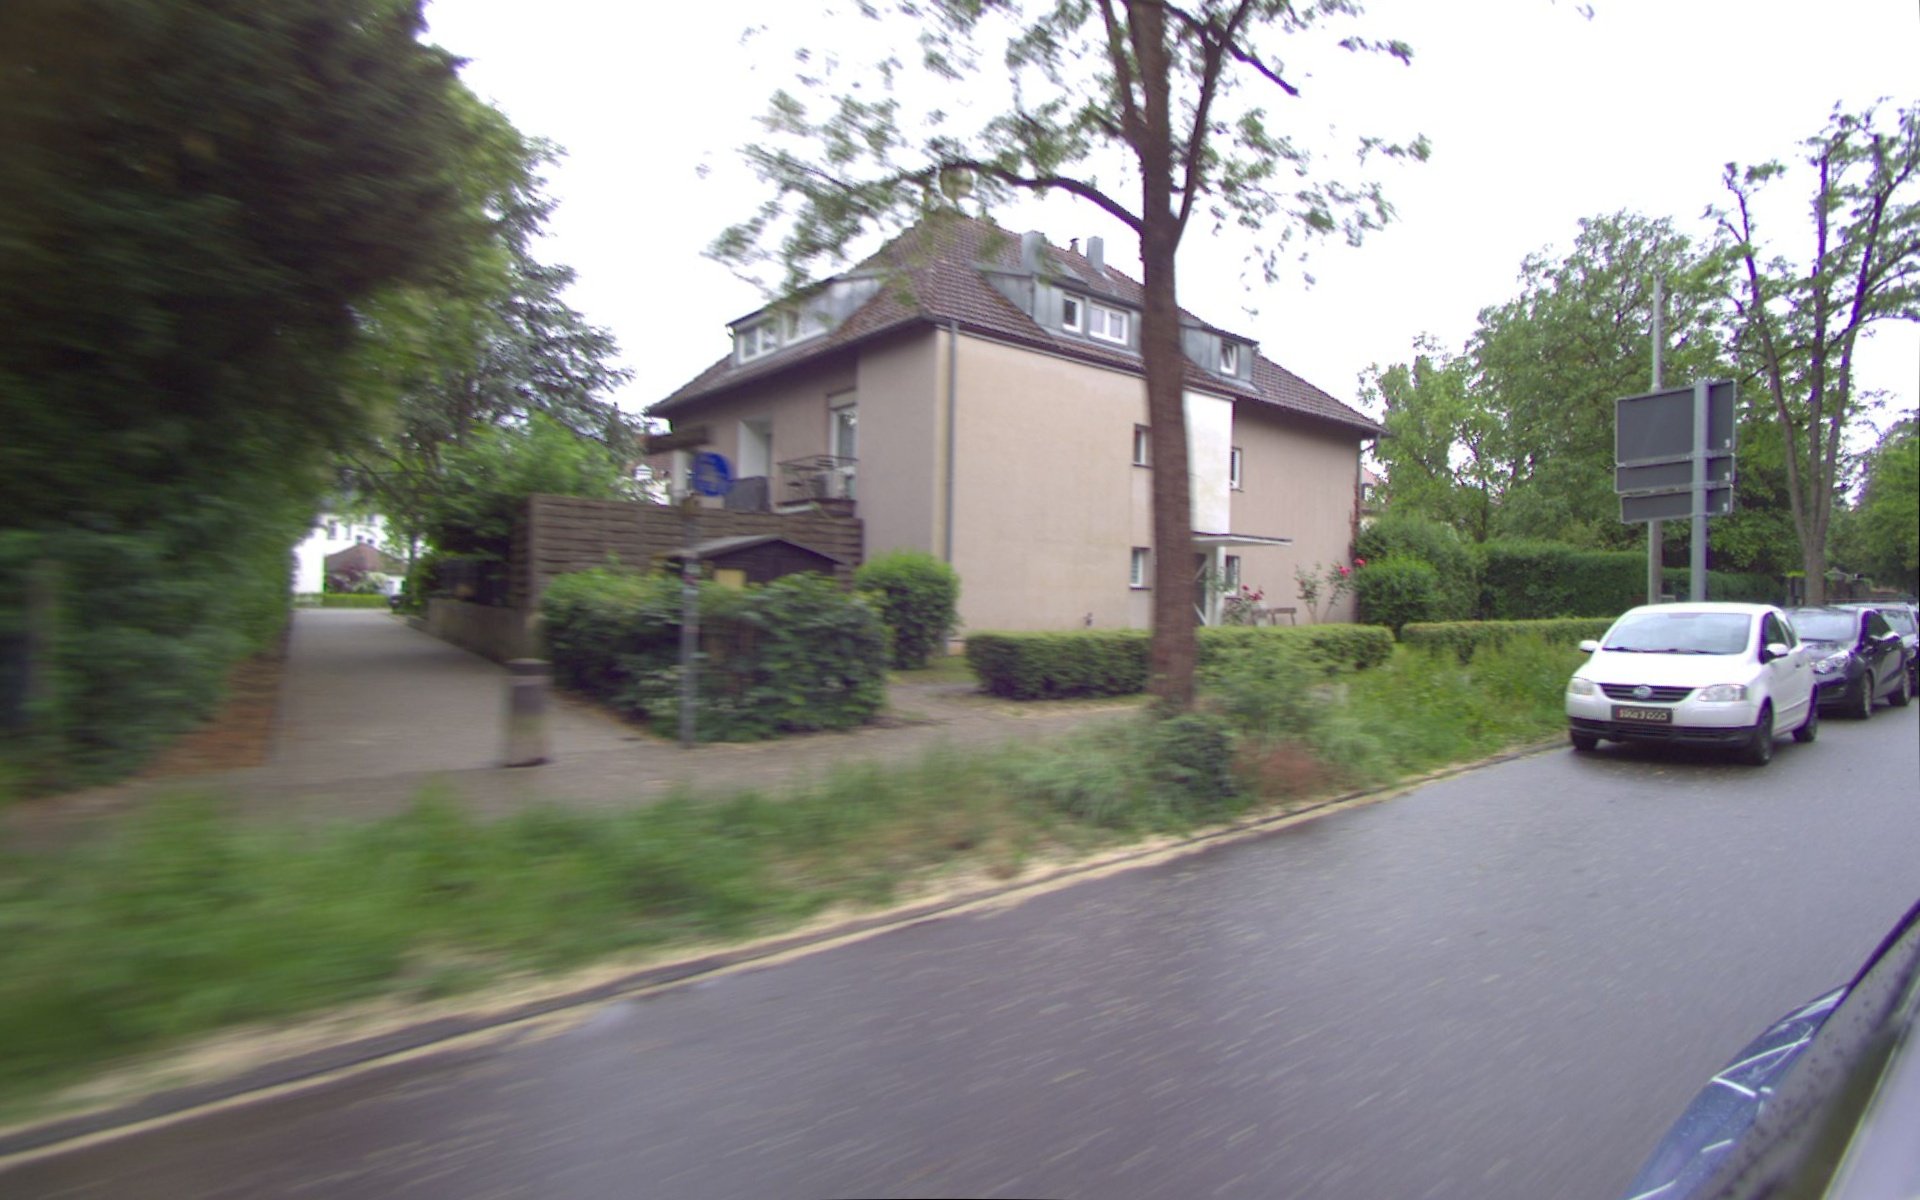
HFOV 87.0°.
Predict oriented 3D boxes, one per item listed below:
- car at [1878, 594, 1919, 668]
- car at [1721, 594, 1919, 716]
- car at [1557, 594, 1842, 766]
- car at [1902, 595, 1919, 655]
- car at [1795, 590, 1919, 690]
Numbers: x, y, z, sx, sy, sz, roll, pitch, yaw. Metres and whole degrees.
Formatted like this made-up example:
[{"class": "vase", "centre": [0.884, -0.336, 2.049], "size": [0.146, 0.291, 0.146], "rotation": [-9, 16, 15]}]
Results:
[{"class": "car", "centre": [20.971, 0.611, 21.573], "size": [4.334, 1.487, 1.619], "rotation": [0, -1, -42]}, {"class": "car", "centre": [12.246, 0.680, 14.231], "size": [3.874, 1.489, 1.620], "rotation": [0, -1, -40]}, {"class": "car", "centre": [7.839, 0.700, 10.611], "size": [3.698, 1.491, 1.574], "rotation": [0, -1, -40]}, {"class": "car", "centre": [24.687, 0.584, 24.773], "size": [3.926, 1.428, 1.733], "rotation": [0, -1, -38]}, {"class": "car", "centre": [16.325, 0.625, 17.766], "size": [4.738, 1.546, 1.756], "rotation": [0, -1, -40]}]
